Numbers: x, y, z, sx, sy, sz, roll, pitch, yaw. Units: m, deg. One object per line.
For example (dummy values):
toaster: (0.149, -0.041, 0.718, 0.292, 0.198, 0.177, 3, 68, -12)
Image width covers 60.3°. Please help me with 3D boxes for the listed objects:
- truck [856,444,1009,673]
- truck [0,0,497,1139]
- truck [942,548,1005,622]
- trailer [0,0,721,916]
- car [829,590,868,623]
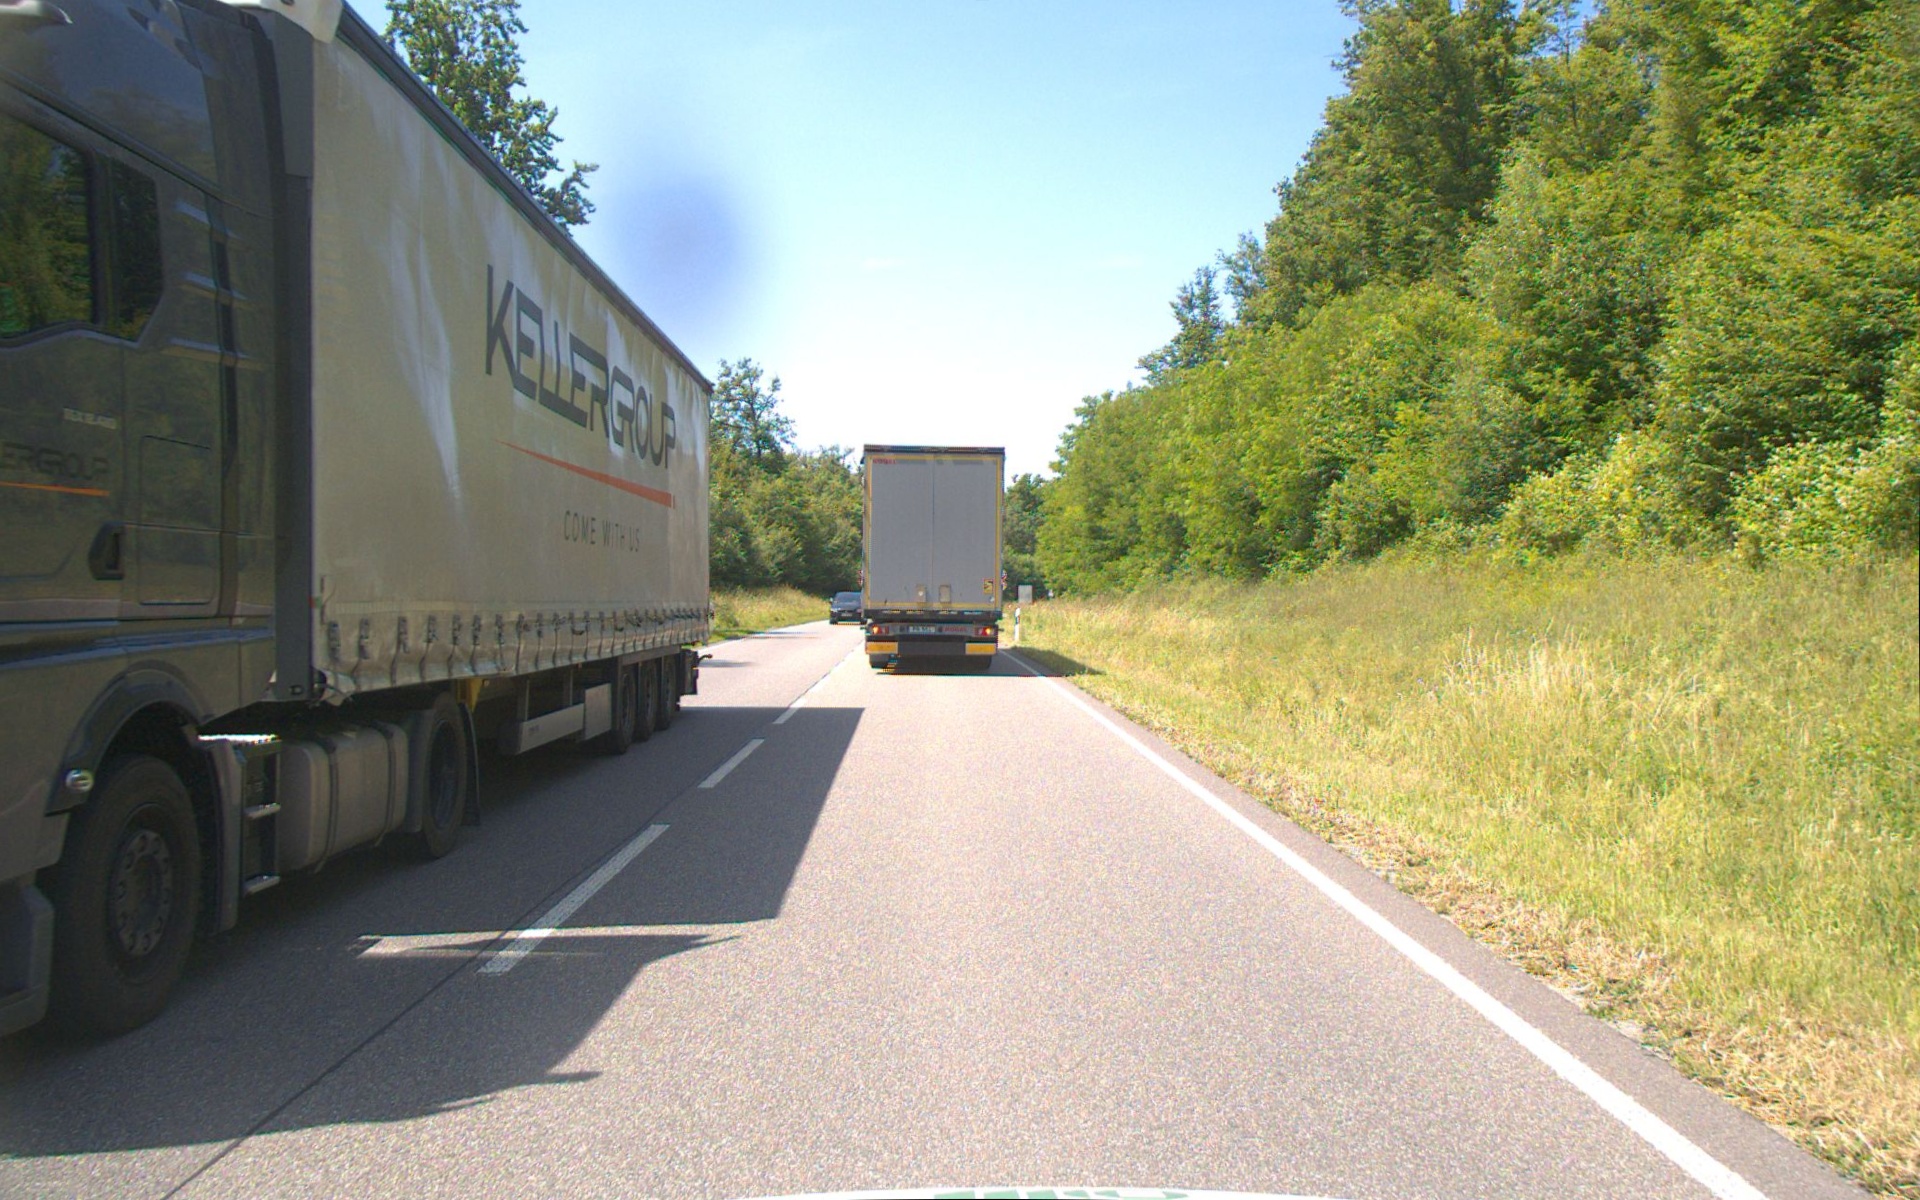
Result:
truck: (-0.640, -0.760, 35.232, 2.705, 4.016, 12.194, 0, 0, -2)
truck: (-4.026, -0.754, 6.810, 2.863, 4.289, 5.341, 0, 0, -2)
truck: (0.879, -0.915, 107.491, 3.715, 4.449, 14.920, 1, 0, 0)
trailer: (-4.265, -0.823, 14.145, 2.882, 4.327, 13.615, 0, 0, -2)
car: (-5.301, 0.296, 79.168, 1.627, 1.521, 3.805, -1, 0, 0)
